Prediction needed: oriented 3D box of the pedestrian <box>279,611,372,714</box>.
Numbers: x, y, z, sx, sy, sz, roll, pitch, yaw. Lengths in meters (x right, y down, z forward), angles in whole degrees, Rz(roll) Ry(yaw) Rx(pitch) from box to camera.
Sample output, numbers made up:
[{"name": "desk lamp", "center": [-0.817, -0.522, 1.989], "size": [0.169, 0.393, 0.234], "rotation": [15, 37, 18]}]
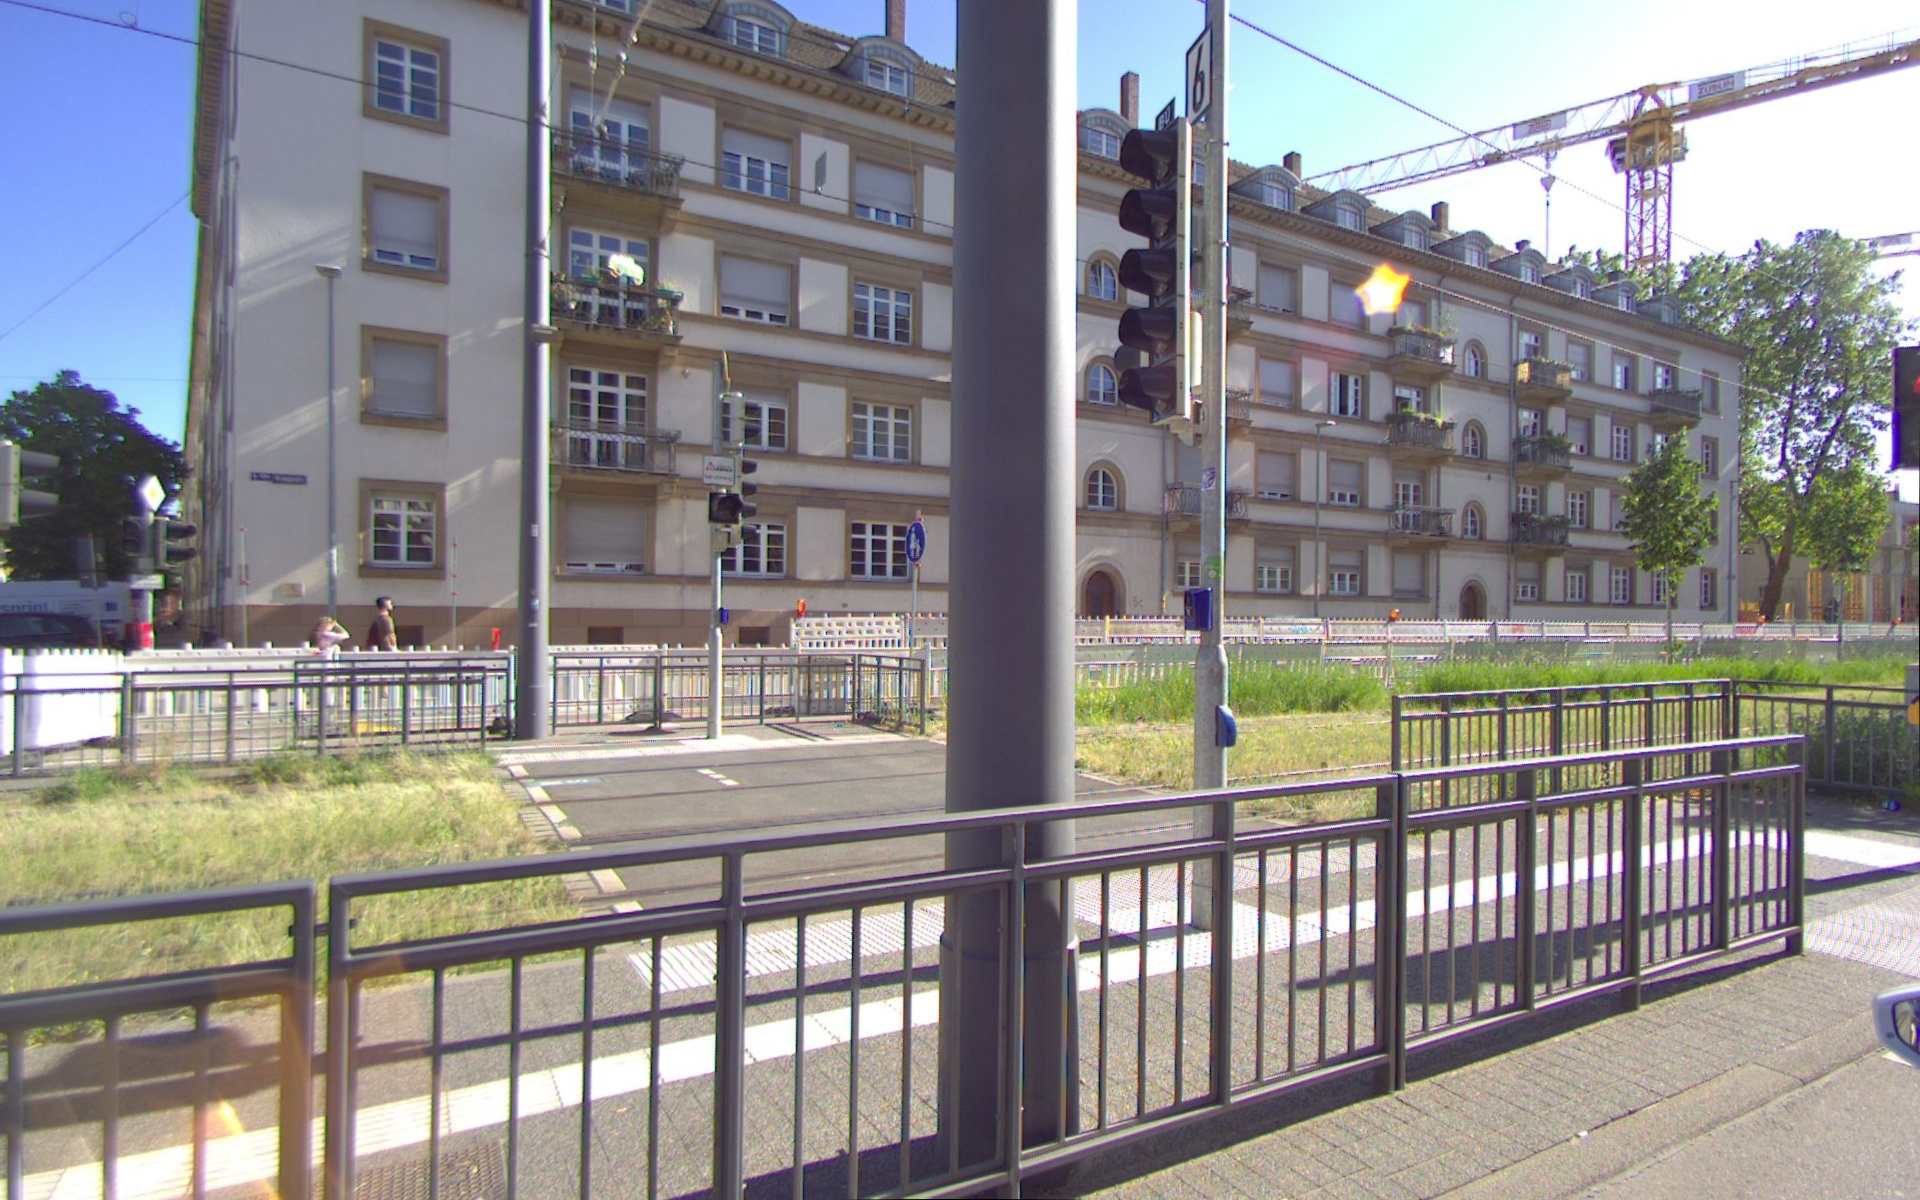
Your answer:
[{"name": "pedestrian", "center": [-10.027, 0.962, 15.884], "size": [0.891, 1.557, 0.867], "rotation": [1, 0, 21]}]

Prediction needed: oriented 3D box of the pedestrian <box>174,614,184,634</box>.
[{"name": "pedestrian", "center": [-71.783, 2.189, 92.302], "size": [0.682, 1.778, 0.808], "rotation": [1, -1, -36]}]

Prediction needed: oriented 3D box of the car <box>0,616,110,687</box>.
[{"name": "car", "center": [-21.531, 1.132, 22.554], "size": [3.642, 1.542, 1.672], "rotation": [1, -1, -39]}]

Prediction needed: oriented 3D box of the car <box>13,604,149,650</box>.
[{"name": "car", "center": [-35.545, 1.092, 40.760], "size": [3.963, 1.799, 1.724], "rotation": [1, -1, -37]}]

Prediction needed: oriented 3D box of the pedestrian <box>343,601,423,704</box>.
[{"name": "pedestrian", "center": [-10.414, 0.926, 18.155], "size": [0.891, 1.804, 0.868], "rotation": [1, 0, 3]}]

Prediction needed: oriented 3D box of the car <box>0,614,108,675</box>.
[{"name": "car", "center": [-25.040, 1.160, 26.662], "size": [3.635, 1.542, 1.672], "rotation": [1, -1, -39]}]

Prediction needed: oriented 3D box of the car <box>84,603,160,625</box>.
[{"name": "car", "center": [-58.036, 1.010, 69.585], "size": [1.730, 1.480, 3.854], "rotation": [0, -1, 43]}]

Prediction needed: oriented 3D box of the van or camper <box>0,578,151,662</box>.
[{"name": "van or camper", "center": [-28.080, 0.608, 30.102], "size": [5.911, 2.432, 1.976], "rotation": [1, -1, -42]}]
